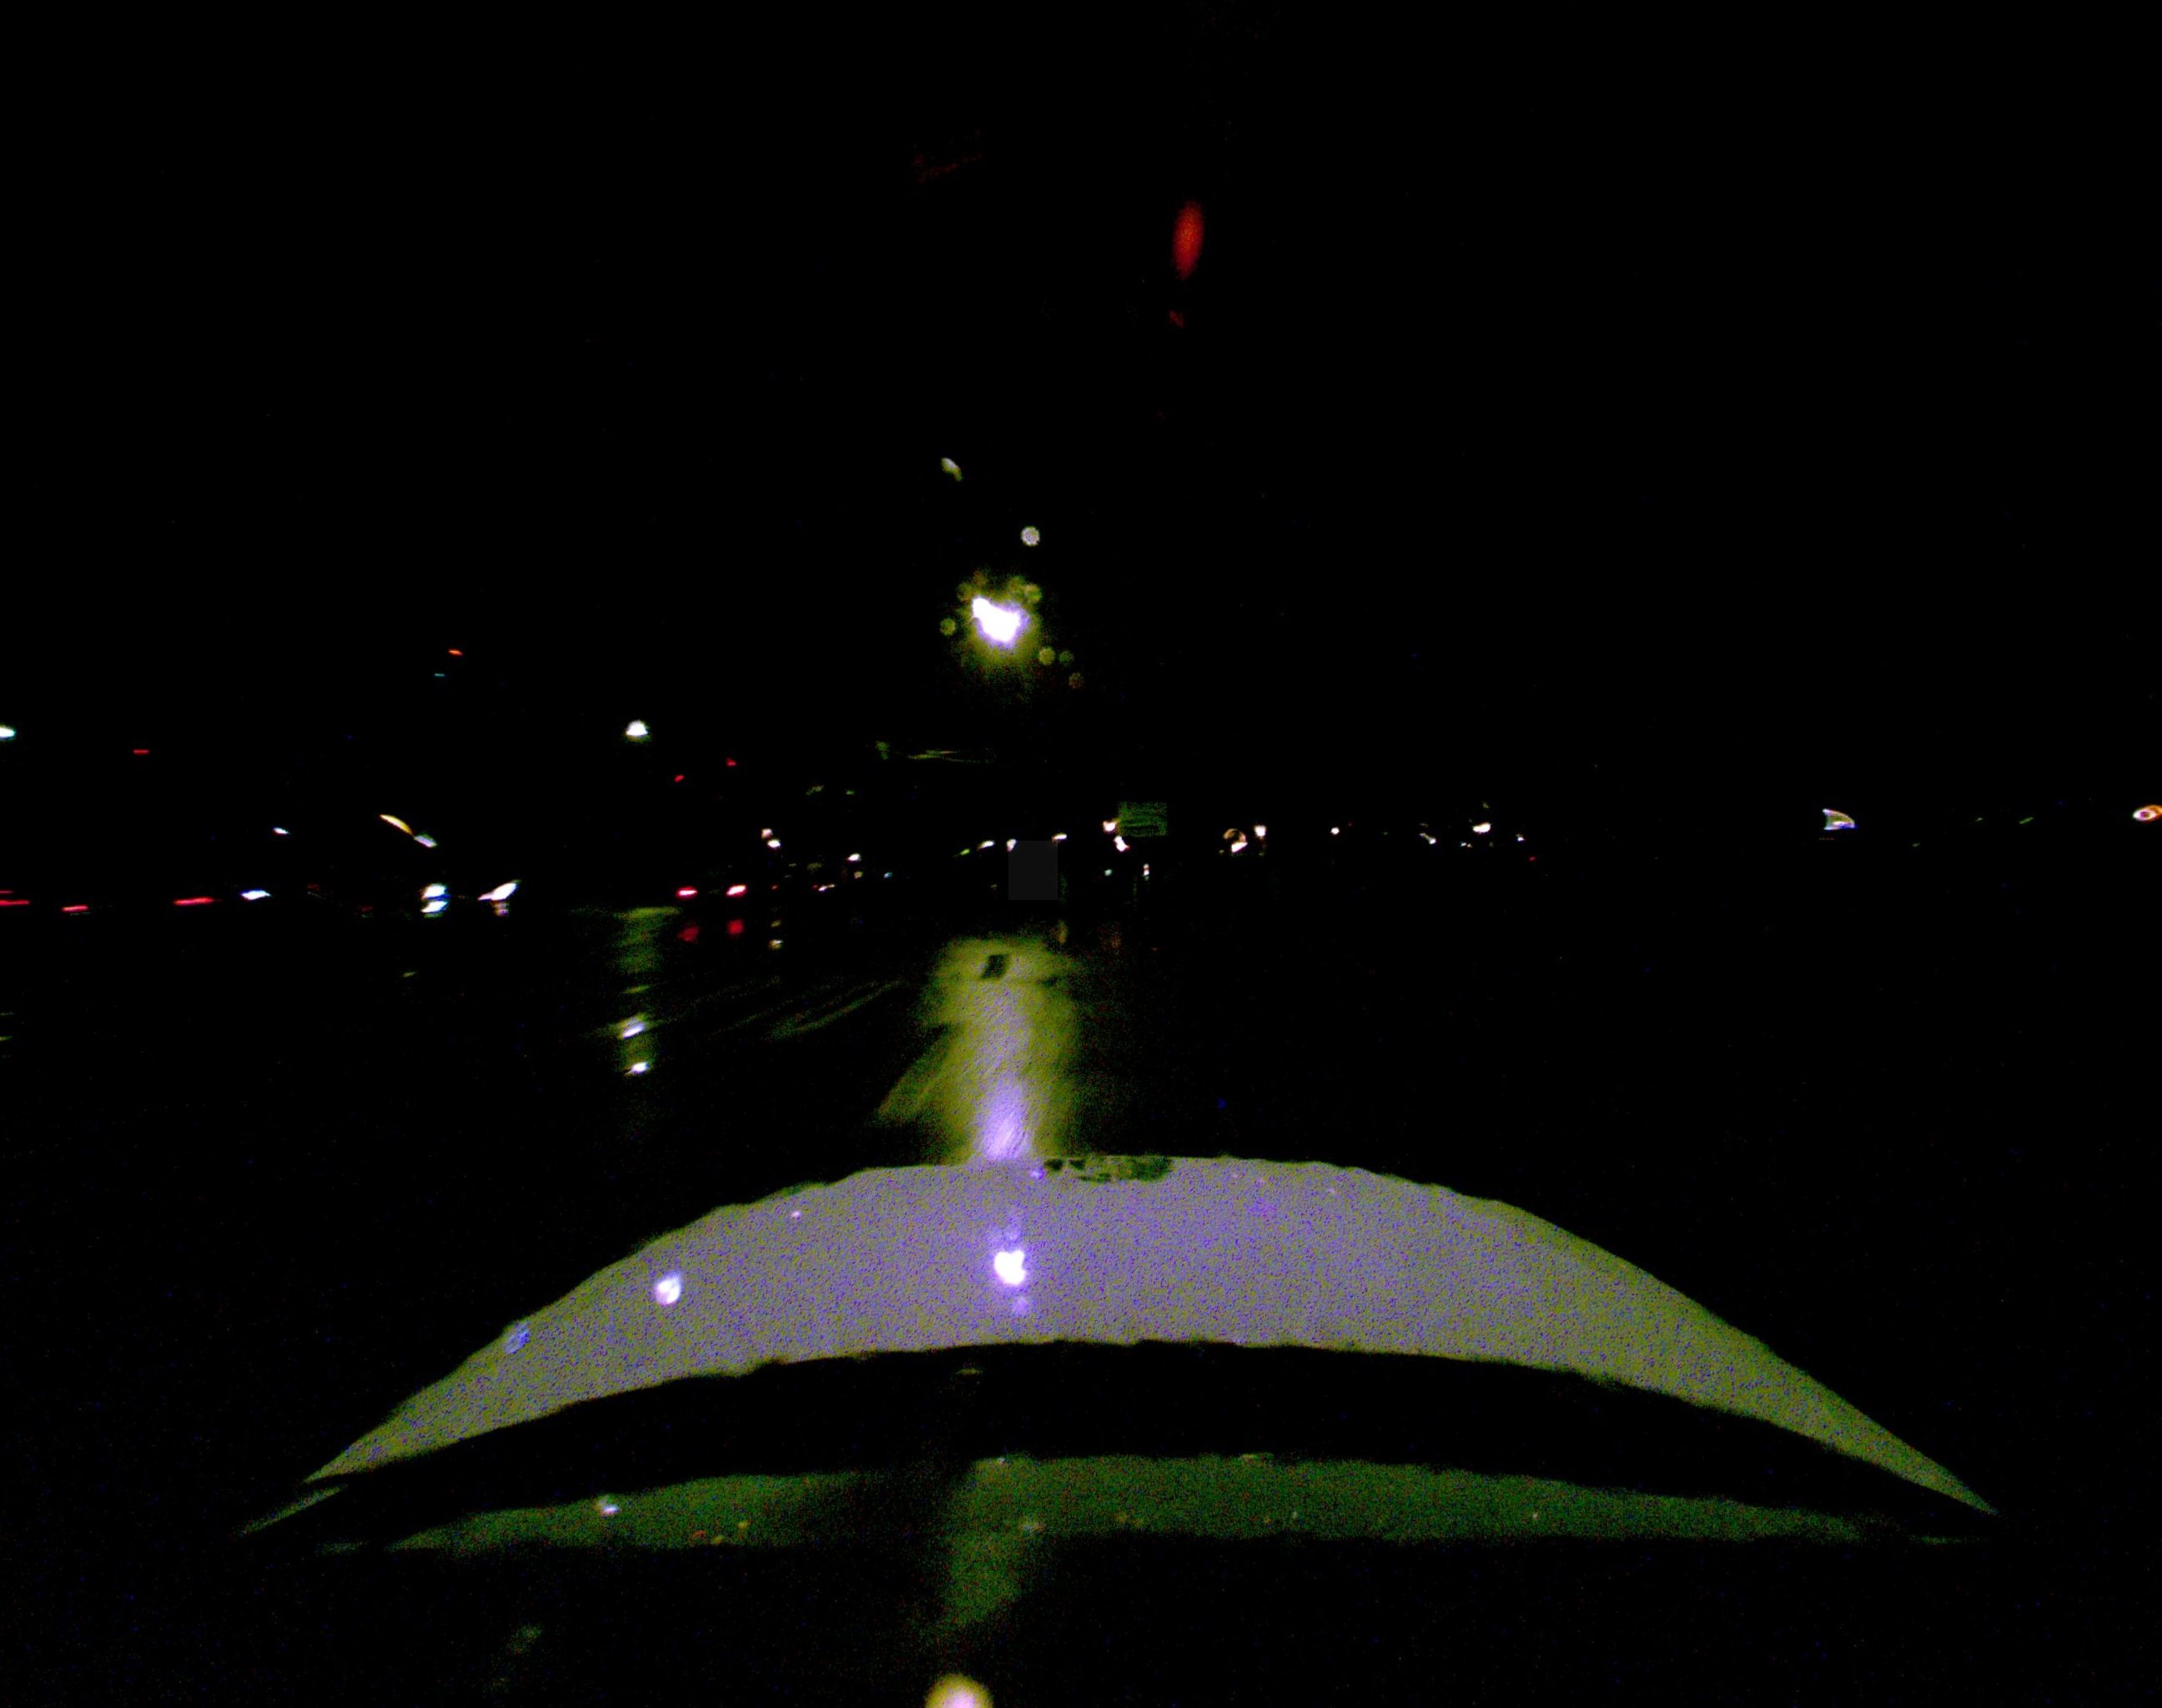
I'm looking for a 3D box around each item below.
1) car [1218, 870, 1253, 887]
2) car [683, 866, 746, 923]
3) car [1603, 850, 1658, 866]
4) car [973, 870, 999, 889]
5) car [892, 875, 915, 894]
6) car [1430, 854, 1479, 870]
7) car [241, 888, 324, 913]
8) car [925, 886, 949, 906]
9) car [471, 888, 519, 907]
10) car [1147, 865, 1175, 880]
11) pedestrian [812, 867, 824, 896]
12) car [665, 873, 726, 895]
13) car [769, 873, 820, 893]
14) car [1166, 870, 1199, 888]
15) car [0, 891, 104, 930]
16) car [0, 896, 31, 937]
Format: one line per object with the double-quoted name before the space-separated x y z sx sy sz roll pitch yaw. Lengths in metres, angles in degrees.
"car" 14.112 2.266 74.650 1.719 1.536 3.892 0 -2 -14
"car" -14.048 1.522 31.425 2.001 2.014 4.524 0 -2 -22
"car" 58.747 0.412 87.119 1.719 1.536 4.970 0 -2 -14
"car" -8.138 2.179 69.312 1.719 1.497 3.892 0 -2 -14
"car" -14.833 2.544 67.954 1.719 1.497 3.892 0 -2 -14
"car" 37.566 0.817 82.113 1.719 1.536 4.970 0 -2 -14
"car" -56.334 3.227 57.546 1.849 1.640 3.895 -1 -2 4
"car" -12.029 3.516 67.900 1.719 1.497 3.891 -2 -5 -14
"car" -58.912 4.314 81.963 1.869 1.758 4.386 -1 -2 -5
"car" 8.367 1.993 85.423 1.719 1.536 3.892 0 -2 -14
"pedestrian" -17.342 1.797 53.693 0.656 1.902 0.722 0 -2 -31
"car" -30.957 2.373 65.472 3.981 1.684 1.914 -1 -2 -6
"car" -25.278 2.579 71.904 4.058 1.682 1.784 0 -2 -13
"car" 9.144 2.248 73.807 1.719 1.536 3.892 0 -2 -14
"car" -45.542 2.437 35.336 3.625 1.579 1.727 0 -2 -17
"car" -45.279 2.516 32.330 4.000 1.616 1.824 0 -2 -20
